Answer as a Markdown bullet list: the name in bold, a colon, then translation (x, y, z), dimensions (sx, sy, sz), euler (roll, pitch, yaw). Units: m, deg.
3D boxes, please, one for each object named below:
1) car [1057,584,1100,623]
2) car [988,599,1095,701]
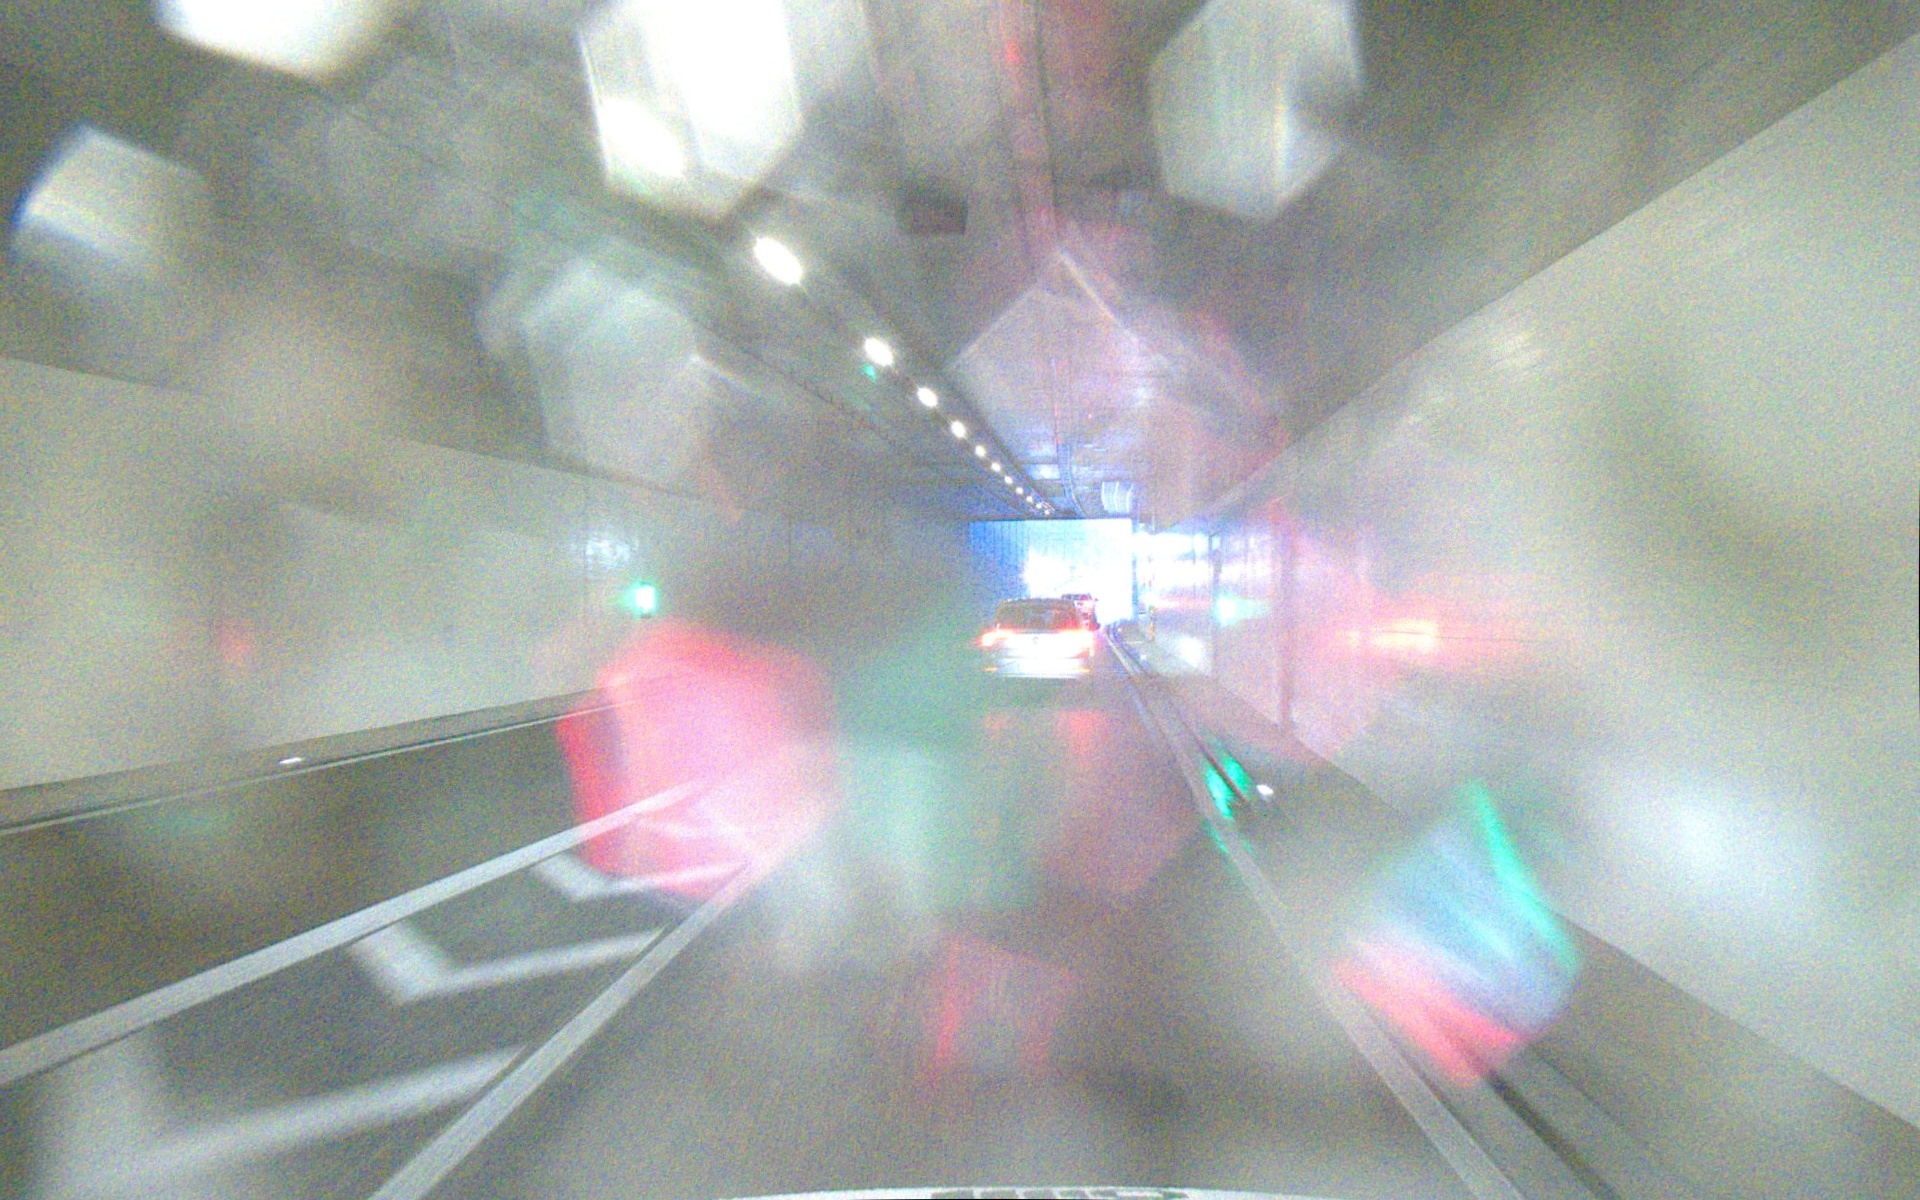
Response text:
- **car**: translation (5.415, 0.160, 75.324), dimensions (1.840, 1.649, 4.002), euler (1, -1, 5)
- **car**: translation (1.242, 0.729, 25.219), dimensions (1.500, 1.422, 3.435), euler (1, -1, 3)
